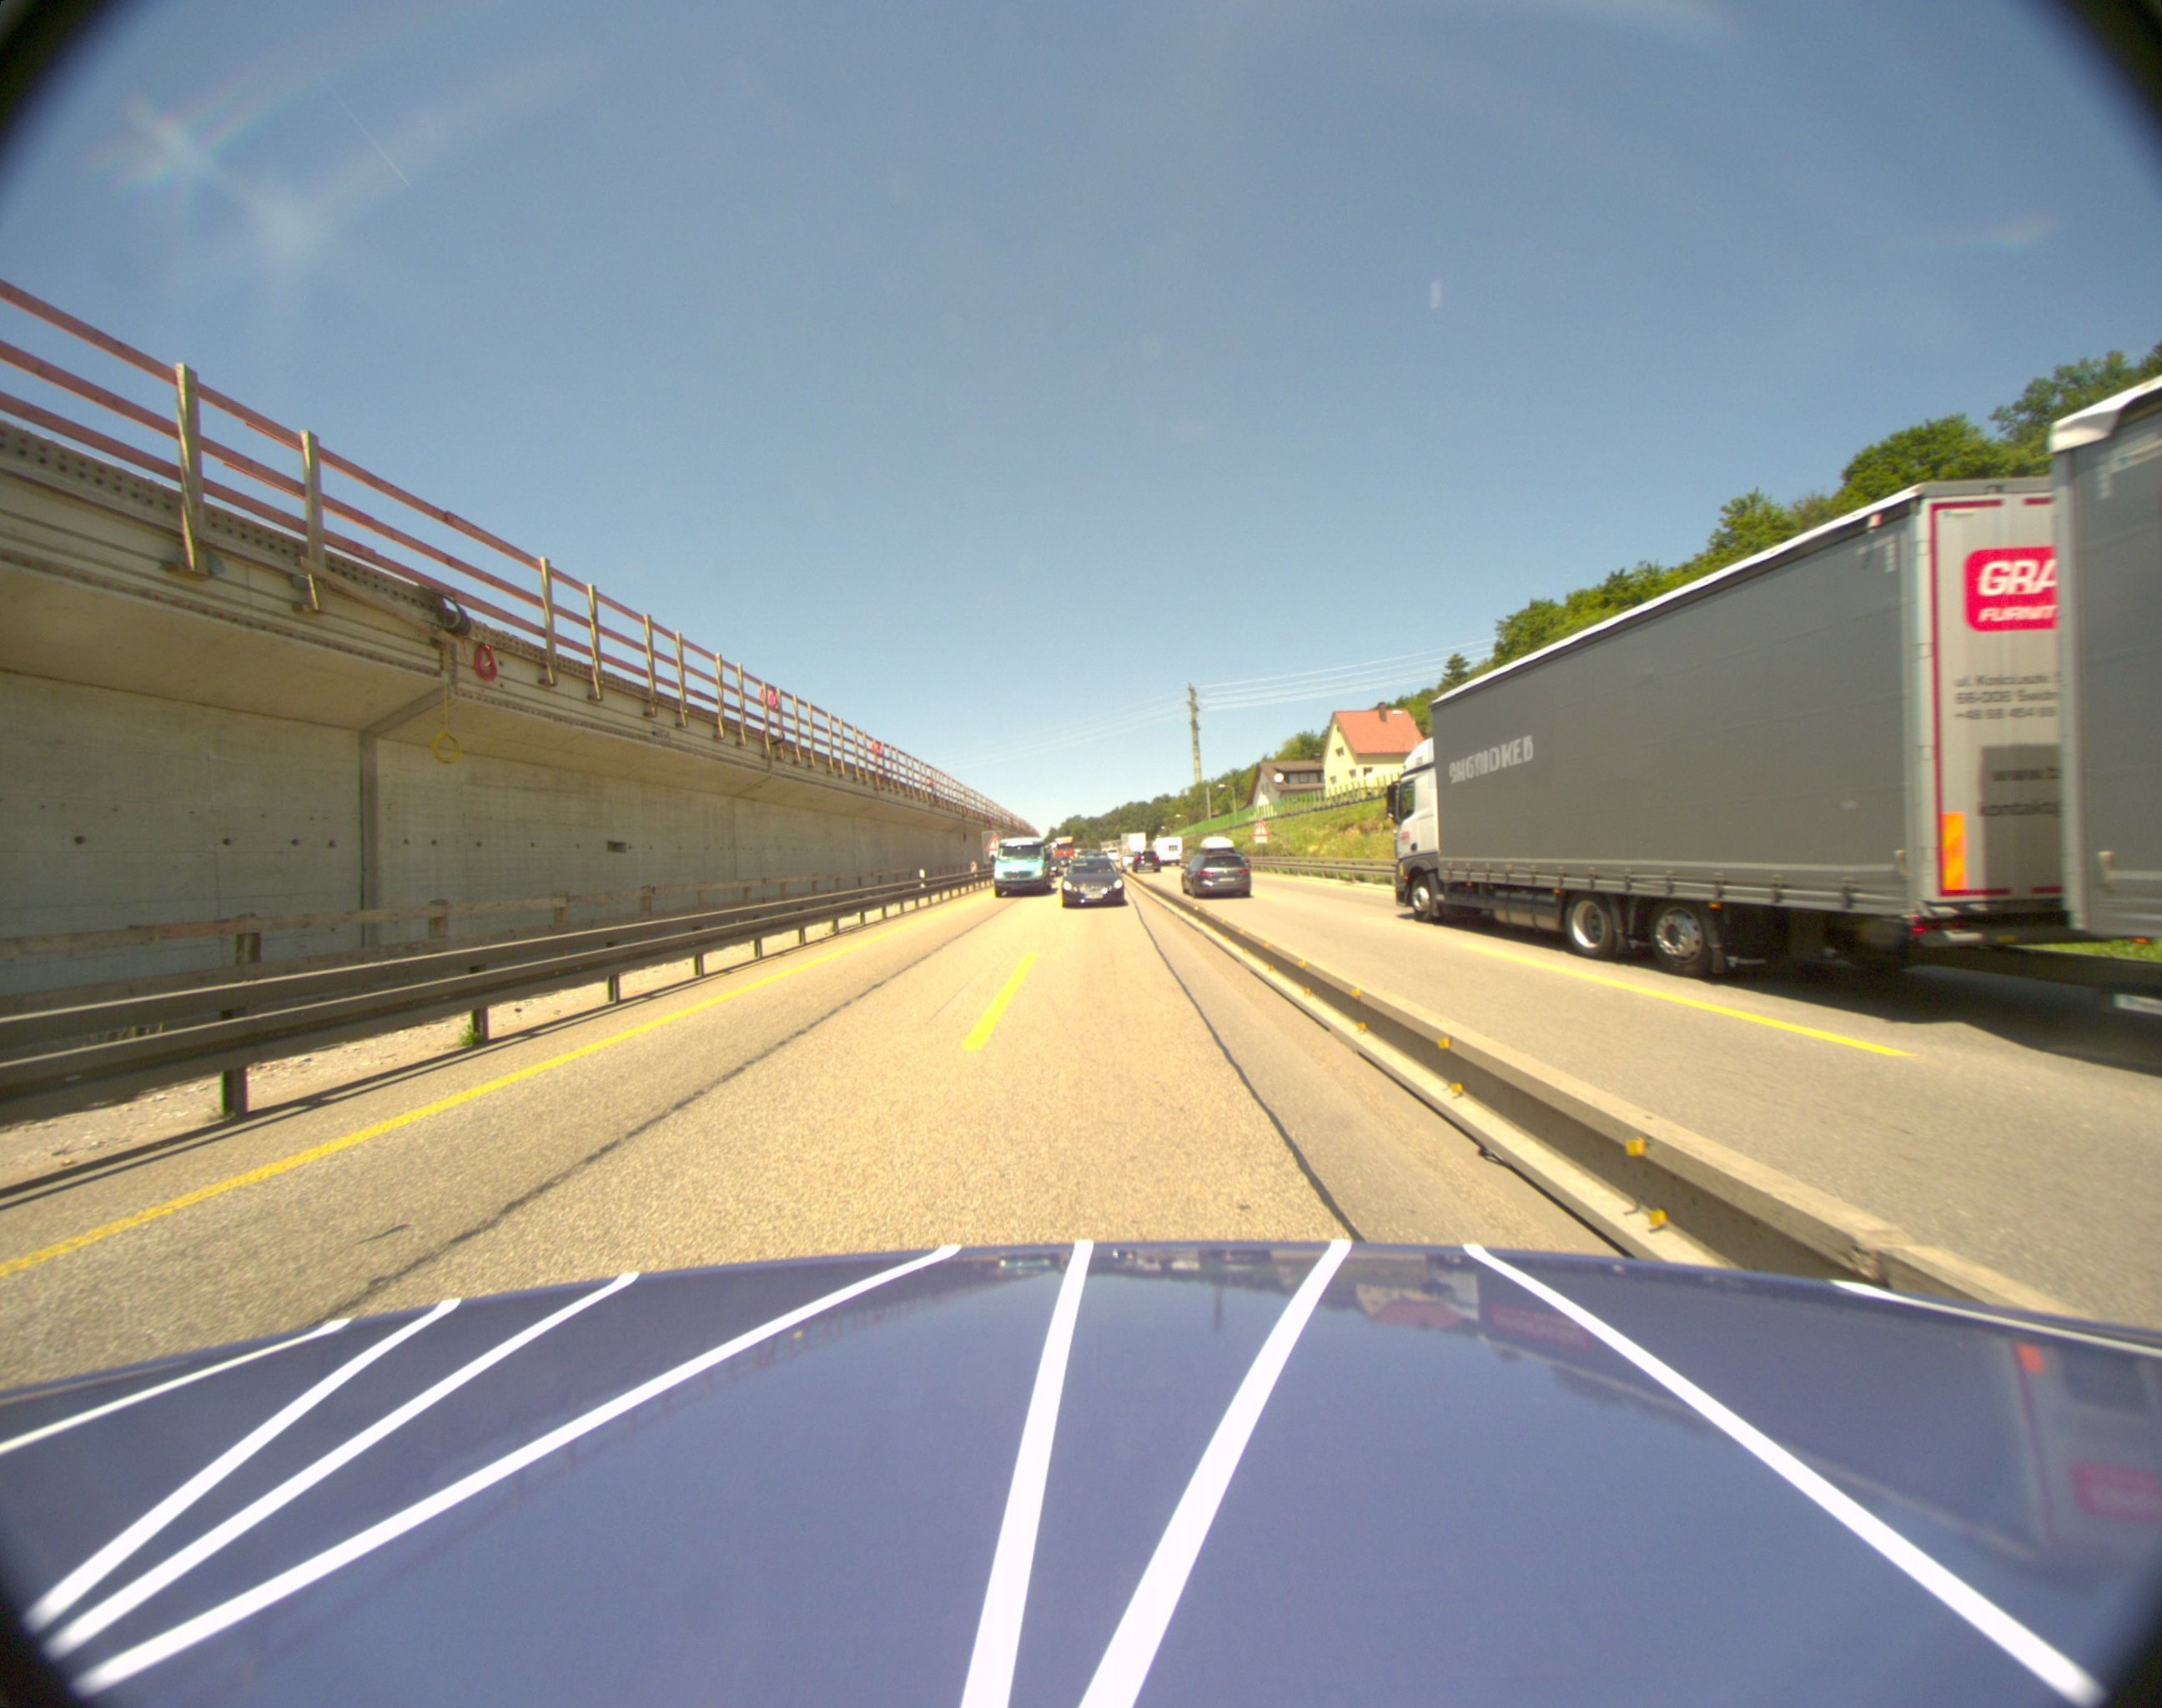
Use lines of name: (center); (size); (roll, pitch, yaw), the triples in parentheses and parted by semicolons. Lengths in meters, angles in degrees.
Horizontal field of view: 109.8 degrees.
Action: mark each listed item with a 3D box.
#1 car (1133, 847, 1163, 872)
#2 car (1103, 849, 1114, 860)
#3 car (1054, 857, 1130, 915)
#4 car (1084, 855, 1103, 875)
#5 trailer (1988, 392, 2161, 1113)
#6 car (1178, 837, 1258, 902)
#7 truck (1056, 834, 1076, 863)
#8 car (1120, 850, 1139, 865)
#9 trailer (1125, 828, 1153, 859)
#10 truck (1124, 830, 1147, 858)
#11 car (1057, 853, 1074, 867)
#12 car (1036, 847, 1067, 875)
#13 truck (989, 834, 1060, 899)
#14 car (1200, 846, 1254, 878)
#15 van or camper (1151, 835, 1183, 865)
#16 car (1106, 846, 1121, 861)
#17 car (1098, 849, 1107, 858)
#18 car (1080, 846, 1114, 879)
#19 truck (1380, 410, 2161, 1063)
car: (4.791, 0.355, 54.821); (1.875, 1.674, 4.000); (-2, 0, 2)
car: (5.065, 0.028, 138.150); (1.884, 1.805, 4.000); (-2, 1, 3)
car: (0.363, 0.869, 22.724); (1.998, 1.440, 4.601); (-2, 0, 2)
car: (1.377, 1.187, 83.475); (1.998, 2.002, 3.999); (-2, 1, 1)
trailer: (7.414, -0.578, 0.604); (2.936, 3.965, 8.705); (-2, 0, 0)
car: (4.429, 0.465, 25.181); (1.854, 1.879, 4.501); (-2, 0, 1)
truck: (-2.263, -0.822, 117.951); (2.750, 4.222, 9.094); (-2, 1, 1)
car: (4.810, 0.337, 76.064); (1.671, 1.442, 3.905); (-2, 0, 2)
trailer: (8.740, -1.615, 116.057); (3.111, 4.416, 14.627); (-2, 1, 1)
truck: (8.787, -1.654, 123.386); (3.111, 4.369, 8.505); (-2, 1, 1)
car: (-1.858, 0.691, 93.800); (1.883, 1.532, 4.281); (-2, 1, 1)
car: (-2.070, 0.478, 53.838); (1.885, 1.805, 4.250); (-2, 1, 1)
truck: (-2.206, 0.397, 32.035); (2.139, 2.344, 7.432); (-2, 1, 2)
car: (7.938, 0.382, 41.777); (1.998, 1.499, 5.300); (-2, 1, 2)
van or camper: (8.306, -0.423, 73.594); (2.356, 2.619, 6.901); (-2, 1, 1)
car: (4.722, -0.055, 110.343); (1.998, 2.002, 4.166); (-2, 0, 2)
car: (4.876, -0.078, 169.766); (1.884, 1.805, 4.000); (-2, 1, 3)
car: (1.011, 0.491, 46.007); (1.884, 1.805, 4.250); (-2, 1, 3)
truck: (7.419, -0.830, 10.340); (2.627, 4.371, 10.385); (-2, 0, 1)
